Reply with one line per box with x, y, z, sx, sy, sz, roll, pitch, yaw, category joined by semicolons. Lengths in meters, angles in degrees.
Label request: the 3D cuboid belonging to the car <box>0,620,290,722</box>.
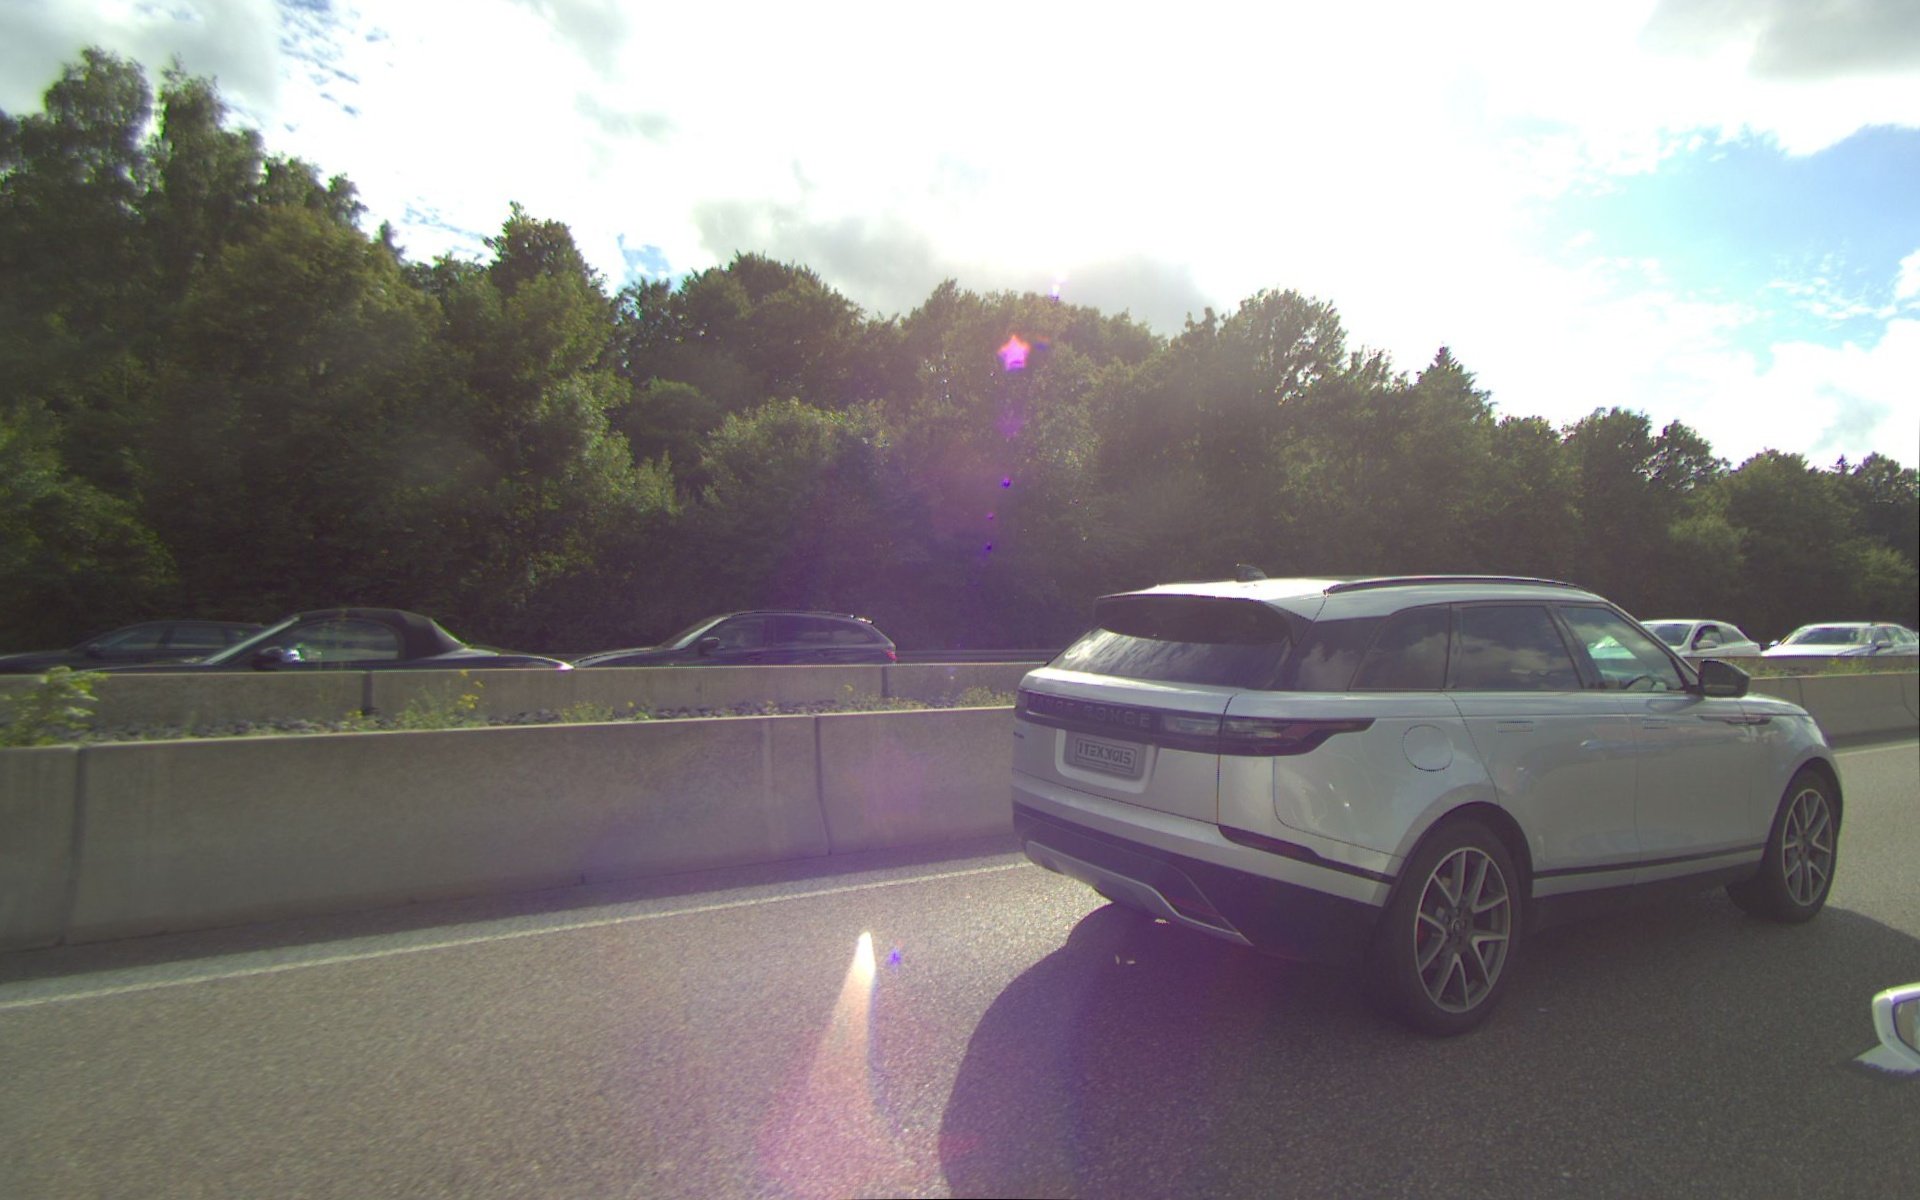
-13.233;1.082;16.129;3.952;1.474;1.748;1;-1;-30;car

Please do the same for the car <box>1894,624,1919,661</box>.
52.895;2.390;54.444;4.494;1.889;1.985;3;-1;-28;car

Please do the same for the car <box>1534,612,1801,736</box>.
12.308;1.270;17.443;4.494;1.889;1.950;3;-1;-28;car

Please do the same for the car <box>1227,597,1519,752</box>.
6.224;1.089;15.108;3.952;2.040;1.985;3;-1;-29;car

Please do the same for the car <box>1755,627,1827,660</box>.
53.774;2.798;64.977;4.494;1.889;1.985;3;-1;-28;car

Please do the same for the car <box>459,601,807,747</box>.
-4.134;0.863;12.783;3.951;1.595;1.832;1;-1;-29;car

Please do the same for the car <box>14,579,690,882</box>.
-4.330;0.880;7.790;3.952;1.817;1.811;3;-1;-29;car

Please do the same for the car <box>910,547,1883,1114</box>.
2.426;0.744;5.018;5.048;1.628;1.890;2;-1;-31;car

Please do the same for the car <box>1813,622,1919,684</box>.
31.071;1.800;33.858;4.494;1.889;1.985;3;-1;-28;car

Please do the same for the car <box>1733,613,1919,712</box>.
18.749;1.338;21.344;4.494;1.889;1.985;3;-1;-28;car

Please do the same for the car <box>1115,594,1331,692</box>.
6.182;1.010;23.473;4.796;2.040;1.985;3;-1;-29;car

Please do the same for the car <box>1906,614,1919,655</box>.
47.388;1.745;47.858;4.494;1.889;1.985;3;-1;-28;car
